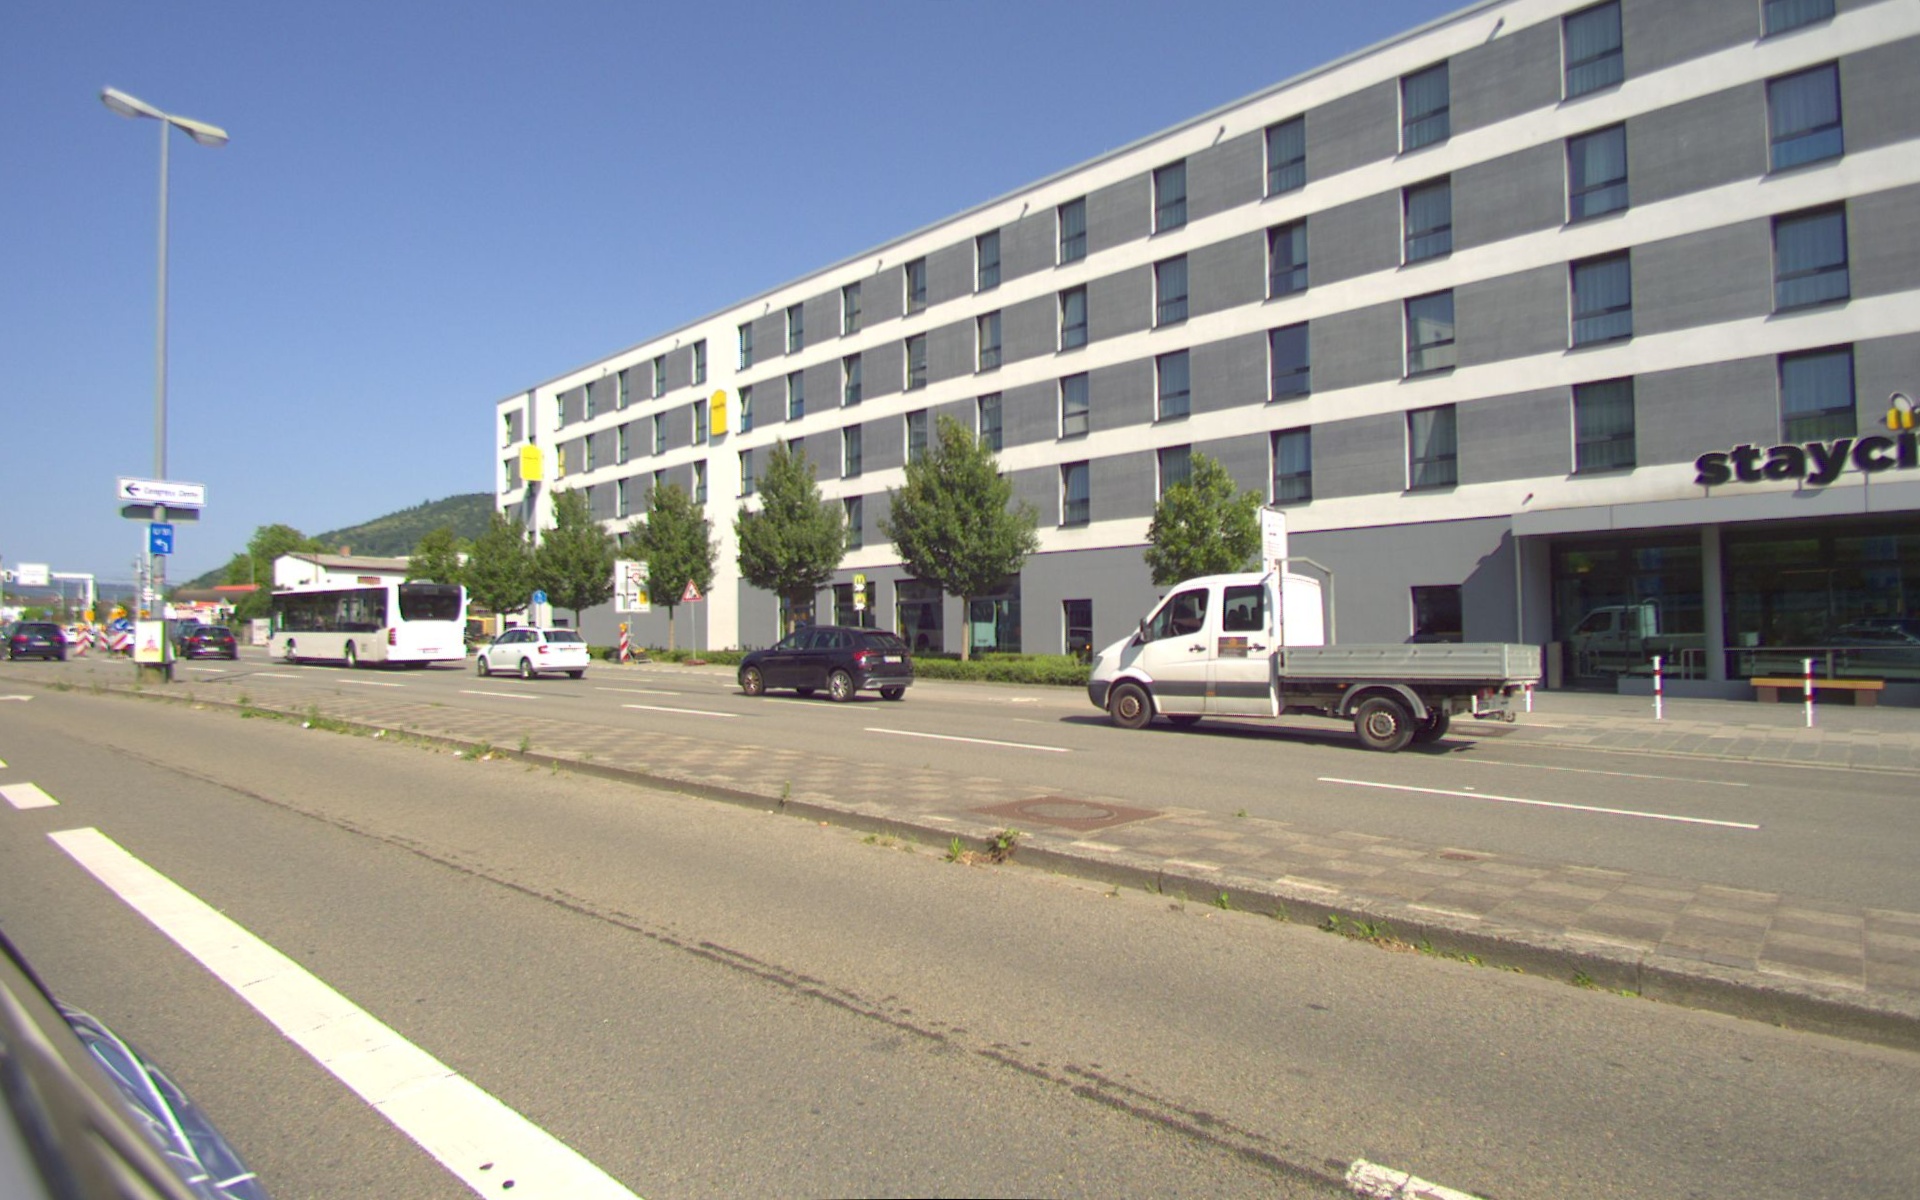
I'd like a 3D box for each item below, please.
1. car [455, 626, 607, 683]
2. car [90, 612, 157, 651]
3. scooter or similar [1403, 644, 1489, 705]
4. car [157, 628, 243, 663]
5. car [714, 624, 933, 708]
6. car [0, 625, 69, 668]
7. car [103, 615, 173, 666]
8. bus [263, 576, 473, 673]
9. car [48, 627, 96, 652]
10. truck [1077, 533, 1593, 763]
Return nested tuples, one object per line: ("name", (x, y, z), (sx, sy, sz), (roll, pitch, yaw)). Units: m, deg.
("car", (-12.367, 1.549, 29.104), (4.403, 1.497, 1.976), (0, -4, 36))
("car", (-49.090, 1.847, 59.378), (3.989, 2.029, 1.977), (-3, 0, 34))
("scooter or similar", (9.681, 1.472, 20.196), (1.518, 1.121, 0.347), (0, -1, 44))
("car", (-33.364, 1.934, 44.379), (4.887, 1.443, 1.973), (-1, -2, 40))
("car", (-2.939, 1.363, 21.437), (4.403, 1.590, 1.976), (-1, -4, 36))
("car", (-36.796, 1.802, 40.045), (4.134, 1.630, 1.865), (-2, -2, 42))
("car", (-35.548, 1.694, 43.713), (4.162, 2.029, 1.658), (0, 0, 41))
("bus", (-21.980, 0.940, 37.080), (11.966, 3.102, 2.710), (-1, -4, 40))
("car", (-60.903, 2.712, 69.389), (3.584, 1.631, 1.699), (-1, -1, 36))
("truck", (5.000, 0.637, 14.284), (6.430, 2.565, 2.334), (-1, -3, 39))
